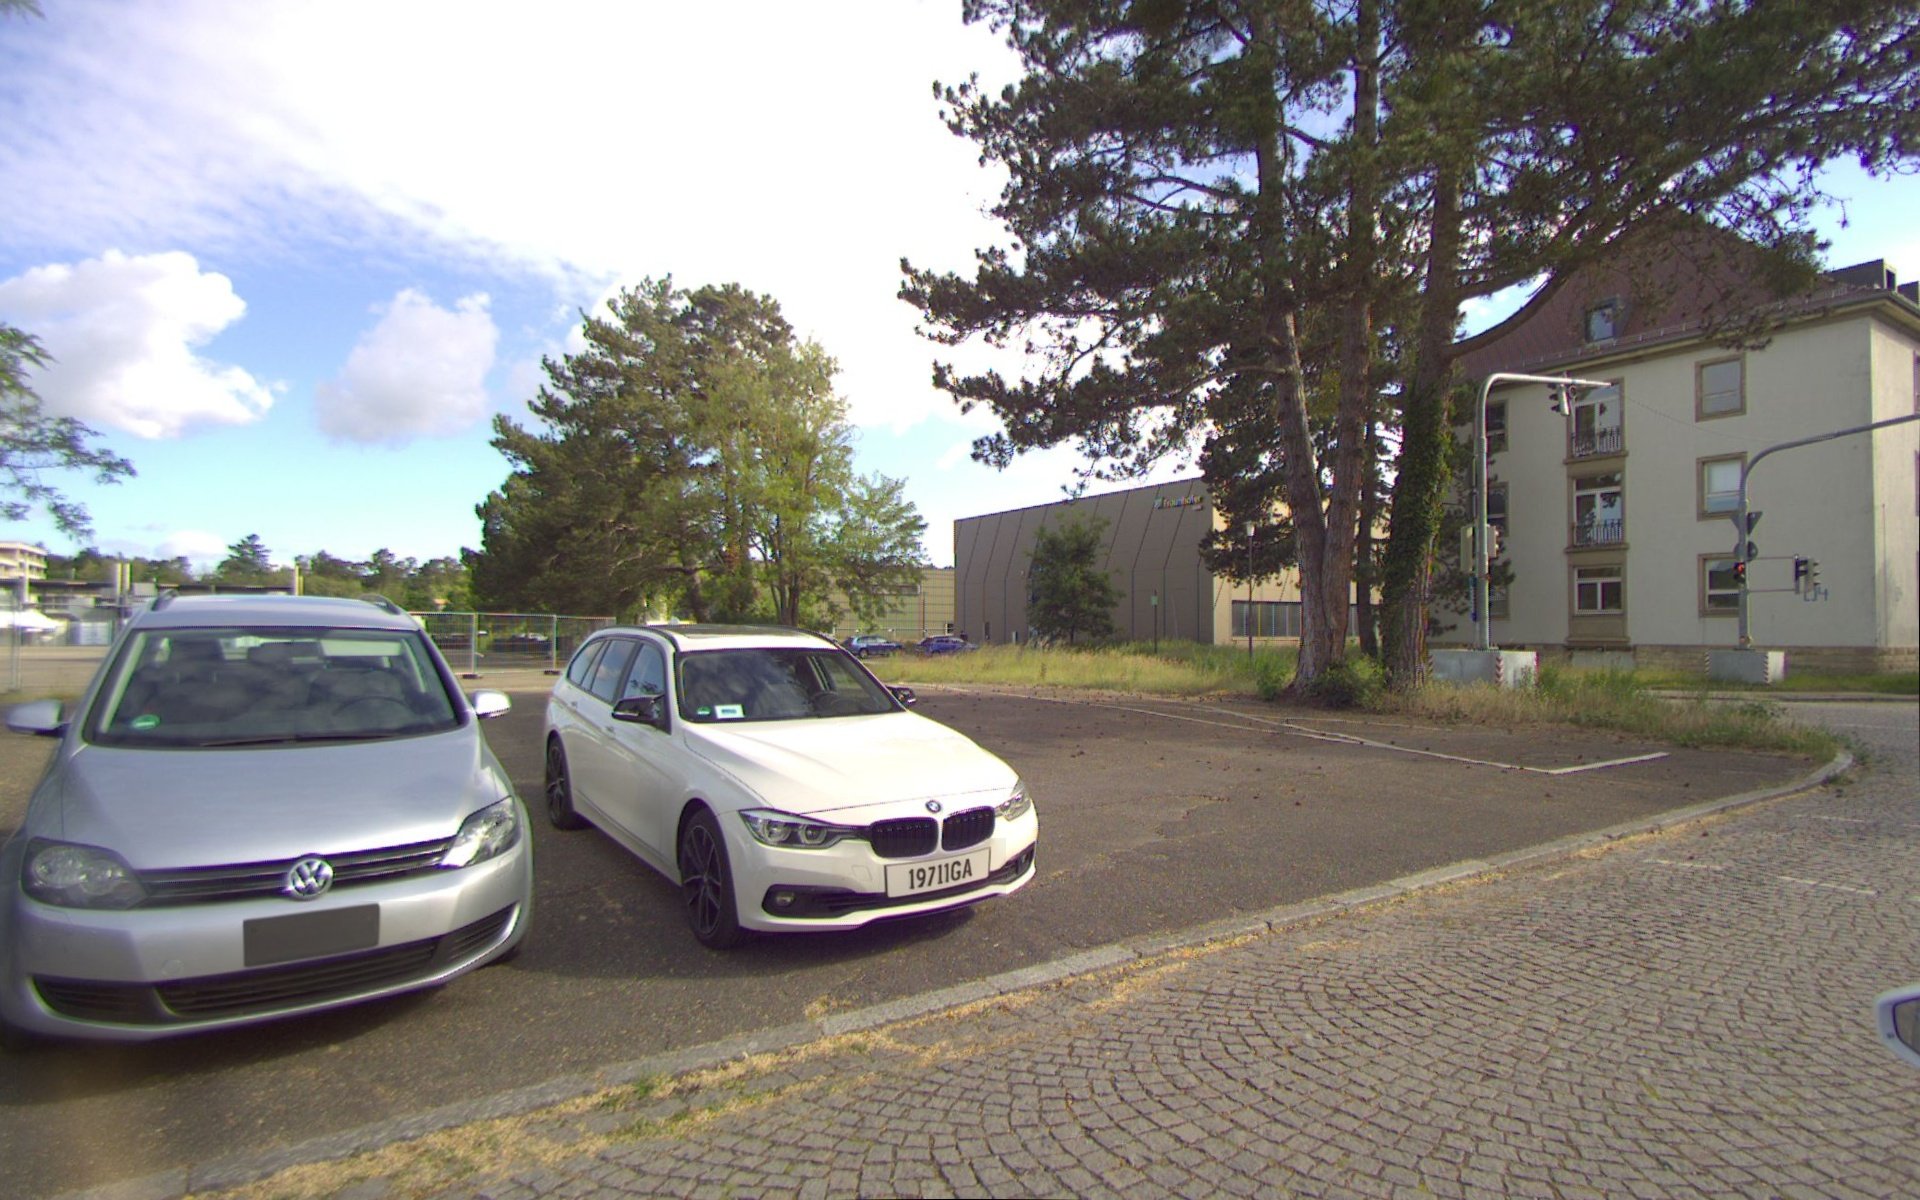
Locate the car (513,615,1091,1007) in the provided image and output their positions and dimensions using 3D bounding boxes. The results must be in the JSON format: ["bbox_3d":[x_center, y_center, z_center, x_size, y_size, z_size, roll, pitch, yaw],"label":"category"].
[{"bbox_3d":[-1.369,0.897,6.400,1.813,1.461,4.446,1,0,-36],"label":"car"}]

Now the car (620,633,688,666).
[{"bbox_3d":[-13.129,2.093,42.939,1.577,1.354,3.703,1,-2,-38],"label":"car"}]

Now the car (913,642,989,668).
[{"bbox_3d":[-0.529,3.131,57.768,4.083,1.433,1.750,1,-2,-30],"label":"car"}]

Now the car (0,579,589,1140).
[{"bbox_3d":[-3.236,0.740,4.929,1.719,1.628,3.805,1,0,-35],"label":"car"}]

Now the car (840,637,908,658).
[{"bbox_3d":[-5.606,3.086,65.362,4.148,1.289,1.598,1,-2,-30],"label":"car"}]

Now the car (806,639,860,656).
[{"bbox_3d":[-9.056,3.390,71.856,3.623,1.217,1.319,1,-2,-30],"label":"car"}]
